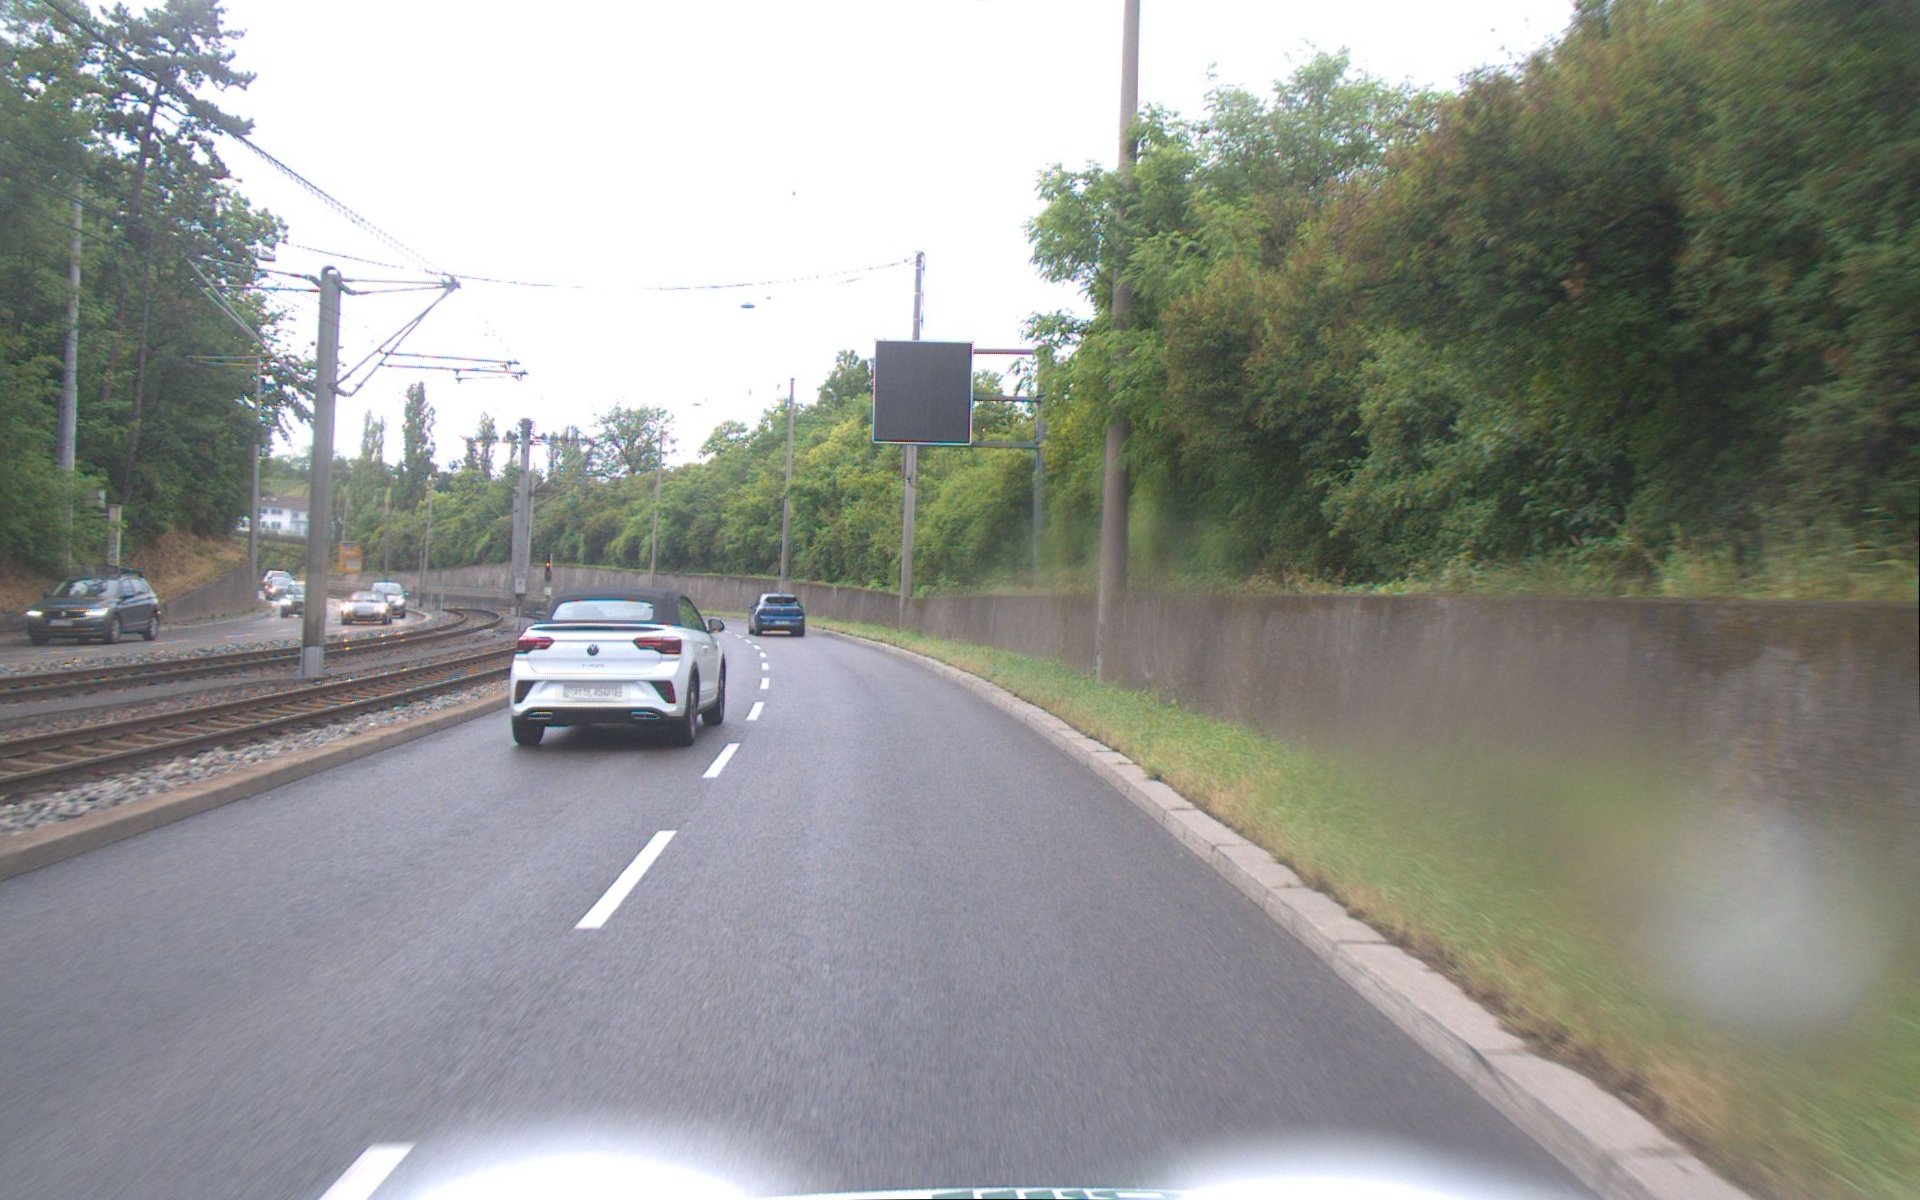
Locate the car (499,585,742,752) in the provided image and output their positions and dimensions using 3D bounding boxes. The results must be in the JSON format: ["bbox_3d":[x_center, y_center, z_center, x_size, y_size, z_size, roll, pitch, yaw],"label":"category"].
[{"bbox_3d":[-3.453,0.615,17.637,1.834,1.550,4.538,0,1,-3],"label":"car"}]

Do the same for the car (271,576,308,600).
[{"bbox_3d":[-45.545,-0.830,112.308,1.906,1.631,4.178,-1,1,-29],"label":"car"}]

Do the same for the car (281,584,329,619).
[{"bbox_3d":[-28.568,0.054,72.241,1.790,1.487,4.632,0,1,-20],"label":"car"}]

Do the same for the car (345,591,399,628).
[{"bbox_3d":[-21.687,0.332,61.141,1.518,1.280,3.944,-1,0,-15],"label":"car"}]

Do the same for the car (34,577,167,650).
[{"bbox_3d":[-20.735,0.294,40.078,1.677,1.636,4.399,-1,0,-11],"label":"car"}]

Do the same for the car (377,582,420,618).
[{"bbox_3d":[-24.880,-0.020,73.217,1.517,1.517,3.595,-1,1,-23],"label":"car"}]

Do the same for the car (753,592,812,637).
[{"bbox_3d":[-6.322,0.486,58.531,1.732,1.527,3.990,1,0,-11],"label":"car"}]
